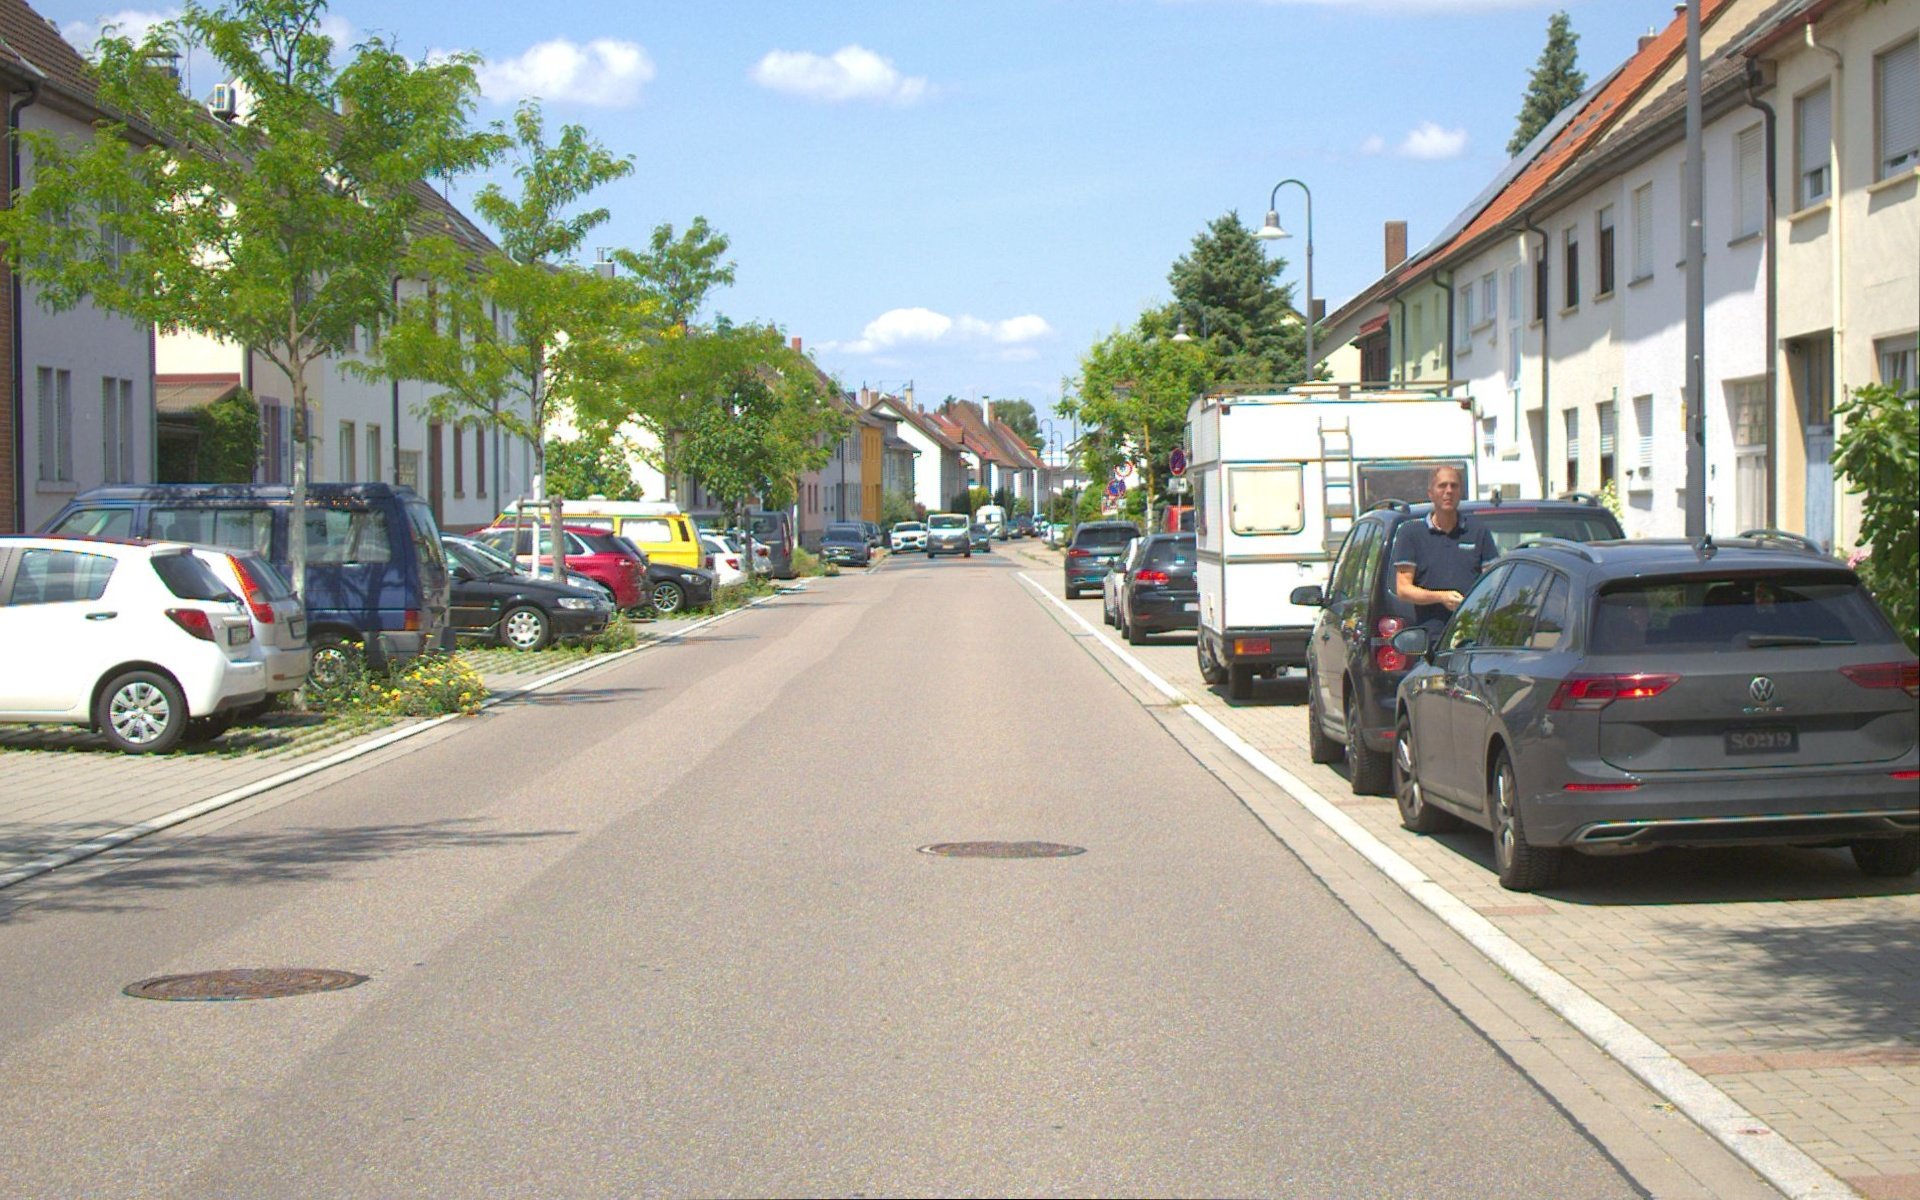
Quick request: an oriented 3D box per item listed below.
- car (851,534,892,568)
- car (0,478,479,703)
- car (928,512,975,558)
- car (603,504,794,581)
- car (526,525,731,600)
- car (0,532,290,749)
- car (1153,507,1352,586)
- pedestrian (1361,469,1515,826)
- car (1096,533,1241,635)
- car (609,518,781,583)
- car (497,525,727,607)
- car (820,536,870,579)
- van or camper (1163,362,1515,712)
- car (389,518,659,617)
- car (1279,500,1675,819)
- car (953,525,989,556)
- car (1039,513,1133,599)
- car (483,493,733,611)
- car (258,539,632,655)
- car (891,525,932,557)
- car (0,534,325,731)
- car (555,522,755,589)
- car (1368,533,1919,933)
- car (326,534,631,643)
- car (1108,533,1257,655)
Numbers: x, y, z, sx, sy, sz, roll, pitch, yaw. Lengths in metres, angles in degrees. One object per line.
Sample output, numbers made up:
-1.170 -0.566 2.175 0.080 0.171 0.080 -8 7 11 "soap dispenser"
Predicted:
-4.333 -2.418 168.306 1.811 1.603 4.000 1 1 1 "car"
-6.902 -0.105 31.664 4.613 1.989 1.953 0 1 2 "car"
-0.400 -2.895 153.545 2.022 1.943 4.899 -2 1 -1 "car"
-6.619 -1.461 87.478 4.700 1.916 1.938 0 1 0 "car"
-6.740 -0.771 69.677 4.071 1.463 1.754 0 1 -8 "car"
-6.944 0.268 24.585 3.916 1.483 1.772 0 1 2 "car"
7.059 -1.281 83.314 4.618 1.887 2.021 0 0 -1 "car"
2.524 0.241 18.202 0.716 1.846 0.578 -1 1 1 "pedestrian"
3.206 -0.284 53.608 1.832 1.460 4.520 -1 1 -2 "car"
-6.492 -1.217 84.565 4.182 1.563 1.774 0 1 -3 "car"
-6.319 -0.627 62.707 4.010 1.454 1.755 0 1 1 "car"
-4.434 -1.660 132.380 1.816 1.428 4.140 2 3 -2 "car"
3.317 -0.611 31.399 2.473 2.800 5.791 -2 2 0 "van or camper"
-7.229 -0.555 57.241 4.253 1.606 1.843 0 1 0 "car"
3.005 0.272 20.816 1.767 1.699 4.325 -1 1 1 "car"
0.552 -3.124 179.363 1.762 1.517 4.049 -3 1 -1 "car"
2.706 -0.971 73.527 1.864 1.630 4.446 -3 2 3 "car"
-6.640 -0.918 65.146 4.508 2.170 1.925 0 1 1 "car"
-6.563 -0.051 44.130 4.524 1.420 1.796 0 1 0 "car"
-2.538 -3.134 181.239 1.850 1.653 4.000 1 1 3 "car"
-7.136 0.236 26.997 3.916 1.483 1.772 0 1 2 "car"
-6.870 -1.005 77.692 4.295 1.463 1.774 0 1 2 "car"
3.015 0.467 15.320 1.766 1.483 4.297 -1 1 -1 "car"
-6.699 -0.181 48.116 4.053 1.473 1.776 0 1 -2 "car"
2.947 -0.116 46.182 1.767 1.524 4.007 -1 1 1 "car"
